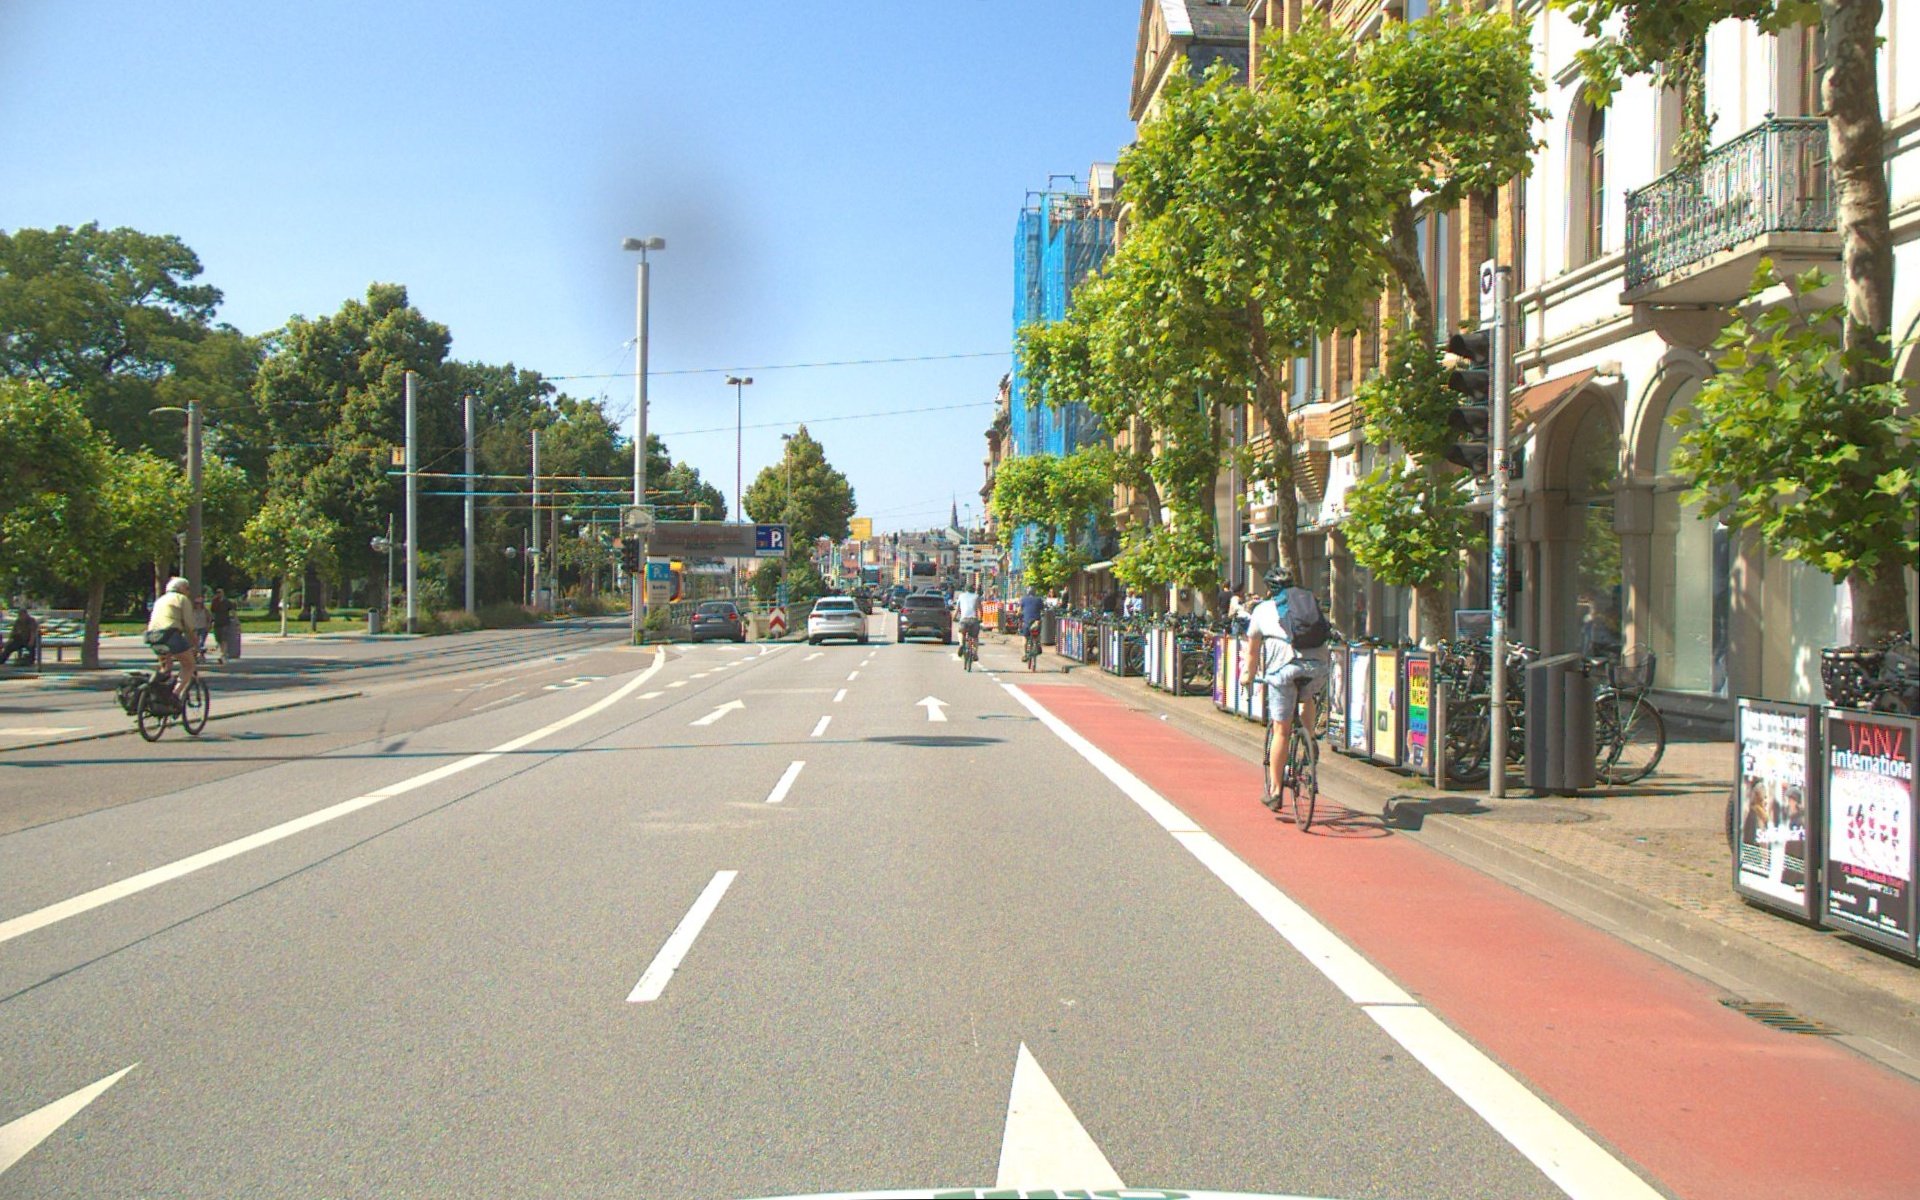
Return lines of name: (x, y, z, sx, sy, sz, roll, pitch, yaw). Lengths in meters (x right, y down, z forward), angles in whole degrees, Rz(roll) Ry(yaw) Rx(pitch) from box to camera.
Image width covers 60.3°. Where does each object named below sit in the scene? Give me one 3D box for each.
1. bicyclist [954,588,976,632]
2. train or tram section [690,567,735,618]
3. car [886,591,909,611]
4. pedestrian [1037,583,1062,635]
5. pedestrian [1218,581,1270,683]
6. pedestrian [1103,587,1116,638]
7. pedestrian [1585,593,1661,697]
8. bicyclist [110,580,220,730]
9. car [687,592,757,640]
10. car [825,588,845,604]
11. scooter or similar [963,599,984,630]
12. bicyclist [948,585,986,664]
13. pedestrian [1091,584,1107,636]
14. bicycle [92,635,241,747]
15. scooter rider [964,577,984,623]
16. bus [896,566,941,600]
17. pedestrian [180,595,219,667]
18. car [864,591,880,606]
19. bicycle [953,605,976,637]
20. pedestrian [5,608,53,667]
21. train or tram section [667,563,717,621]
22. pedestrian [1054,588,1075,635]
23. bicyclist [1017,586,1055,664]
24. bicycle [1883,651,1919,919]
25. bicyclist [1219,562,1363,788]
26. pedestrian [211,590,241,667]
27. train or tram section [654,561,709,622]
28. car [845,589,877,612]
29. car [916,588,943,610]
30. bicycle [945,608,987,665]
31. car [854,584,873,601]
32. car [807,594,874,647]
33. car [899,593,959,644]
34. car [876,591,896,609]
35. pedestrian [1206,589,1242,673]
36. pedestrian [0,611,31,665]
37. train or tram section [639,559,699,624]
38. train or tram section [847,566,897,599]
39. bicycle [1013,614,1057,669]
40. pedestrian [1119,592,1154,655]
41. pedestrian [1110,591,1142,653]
bicyclist: (0.189, 0.381, 61.734, 0.675, 1.604, 1.049, 2, 0, -4)
train or tram section: (-18.341, -0.553, 122.752, 2.561, 3.643, 6.014, 2, 0, -3)
car: (-4.217, 0.063, 111.126, 1.423, 1.323, 3.339, 2, 0, -3)
pedestrian: (2.967, 0.297, 54.942, 0.646, 1.712, 0.650, 1, -1, -18)
pedestrian: (4.752, 0.529, 27.716, 0.639, 1.662, 0.730, 2, 0, -5)
pedestrian: (5.017, 0.424, 55.572, 0.372, 1.712, 0.477, -1, 0, 9)
pedestrian: (8.470, 0.572, 21.140, 0.715, 1.274, 0.588, 2, 0, 42)
bicyclist: (-9.001, 0.603, 18.752, 0.801, 1.650, 0.902, -1, 1, -2)
car: (-8.219, 0.536, 57.414, 1.954, 1.534, 3.998, 2, 0, -3)
car: (-10.585, -0.333, 140.611, 1.422, 1.323, 3.999, 2, 0, -1)
scooter or similar: (0.528, 0.559, 64.948, 0.674, 1.188, 1.463, 2, 0, -3)
bicyclist: (0.136, 0.500, 34.440, 0.675, 1.604, 1.049, 2, 0, -4)
pedestrian: (4.625, 0.335, 55.157, 0.487, 1.712, 0.537, -1, -1, 5)
bicycle: (-8.988, 1.003, 18.822, 0.801, 1.140, 1.873, -2, 0, -2)
scooter rider: (0.564, -0.005, 64.989, 0.675, 1.759, 0.777, 2, 0, -4)
bus: (-3.681, -1.466, 144.214, 2.913, 2.825, 8.627, 2, 0, -7)
pedestrian: (-17.891, 0.725, 38.911, 0.513, 1.637, 0.627, -2, 1, 7)
car: (-8.281, -0.118, 156.281, 1.422, 1.323, 3.340, 2, 0, -2)
bicycle: (0.154, 0.779, 61.773, 0.719, 1.112, 1.897, 2, 0, -3)
pedestrian: (-20.786, 0.829, 36.936, 0.662, 1.268, 0.751, -2, 1, -8)
train or tram section: (-17.791, -0.526, 110.180, 2.561, 3.643, 5.354, 2, 0, -3)
pedestrian: (4.252, 0.453, 67.060, 0.797, 1.881, 0.892, -1, -1, 5)
bicyclist: (1.626, 0.534, 35.574, 0.674, 1.644, 0.918, 2, 0, -3)
bicycle: (5.076, 0.828, 7.350, 1.718, 1.167, 0.482, 1, 0, -4)
bicyclist: (2.311, 0.503, 11.659, 0.675, 1.488, 1.142, 2, 0, -4)
pedestrian: (-17.256, 0.668, 38.867, 0.520, 1.764, 0.581, -2, 1, -32)
train or tram section: (-17.541, -0.514, 104.468, 2.561, 3.643, 6.100, 2, 0, -3)
car: (-6.277, 0.040, 105.191, 1.779, 1.355, 3.999, 2, 0, -1)
car: (-2.245, -0.076, 122.165, 1.953, 1.518, 3.999, 2, 0, -1)
bicycle: (0.123, 0.752, 34.553, 0.719, 1.112, 1.896, 2, 0, -4)
car: (-8.105, -0.608, 139.197, 1.422, 1.323, 3.999, 2, 0, -1)
car: (-3.719, 0.621, 52.035, 1.821, 1.533, 3.999, 2, 0, -1)
car: (-1.017, 0.568, 53.847, 1.836, 1.518, 3.999, 2, 0, -1)
car: (-5.519, 0.005, 124.021, 1.422, 1.323, 3.340, 2, 0, -2)
pedestrian: (5.794, 0.673, 36.373, 0.654, 1.812, 0.985, 0, 0, 2)
pedestrian: (-21.572, 0.860, 37.467, 0.662, 1.191, 0.751, -2, 1, -8)
train or tram section: (-17.266, -0.501, 98.386, 2.561, 3.643, 6.100, 2, 0, -3)
train or tram section: (-10.673, -2.094, 202.672, 2.763, 3.643, 10.037, 2, 0, 17)
bicycle: (1.607, 0.875, 35.602, 0.719, 1.112, 1.910, 2, 0, -4)
pedestrian: (4.739, 0.623, 44.476, 0.684, 1.654, 0.698, -1, 0, -19)
pedestrian: (4.524, 0.591, 45.115, 0.590, 1.654, 0.641, -2, 0, -19)
